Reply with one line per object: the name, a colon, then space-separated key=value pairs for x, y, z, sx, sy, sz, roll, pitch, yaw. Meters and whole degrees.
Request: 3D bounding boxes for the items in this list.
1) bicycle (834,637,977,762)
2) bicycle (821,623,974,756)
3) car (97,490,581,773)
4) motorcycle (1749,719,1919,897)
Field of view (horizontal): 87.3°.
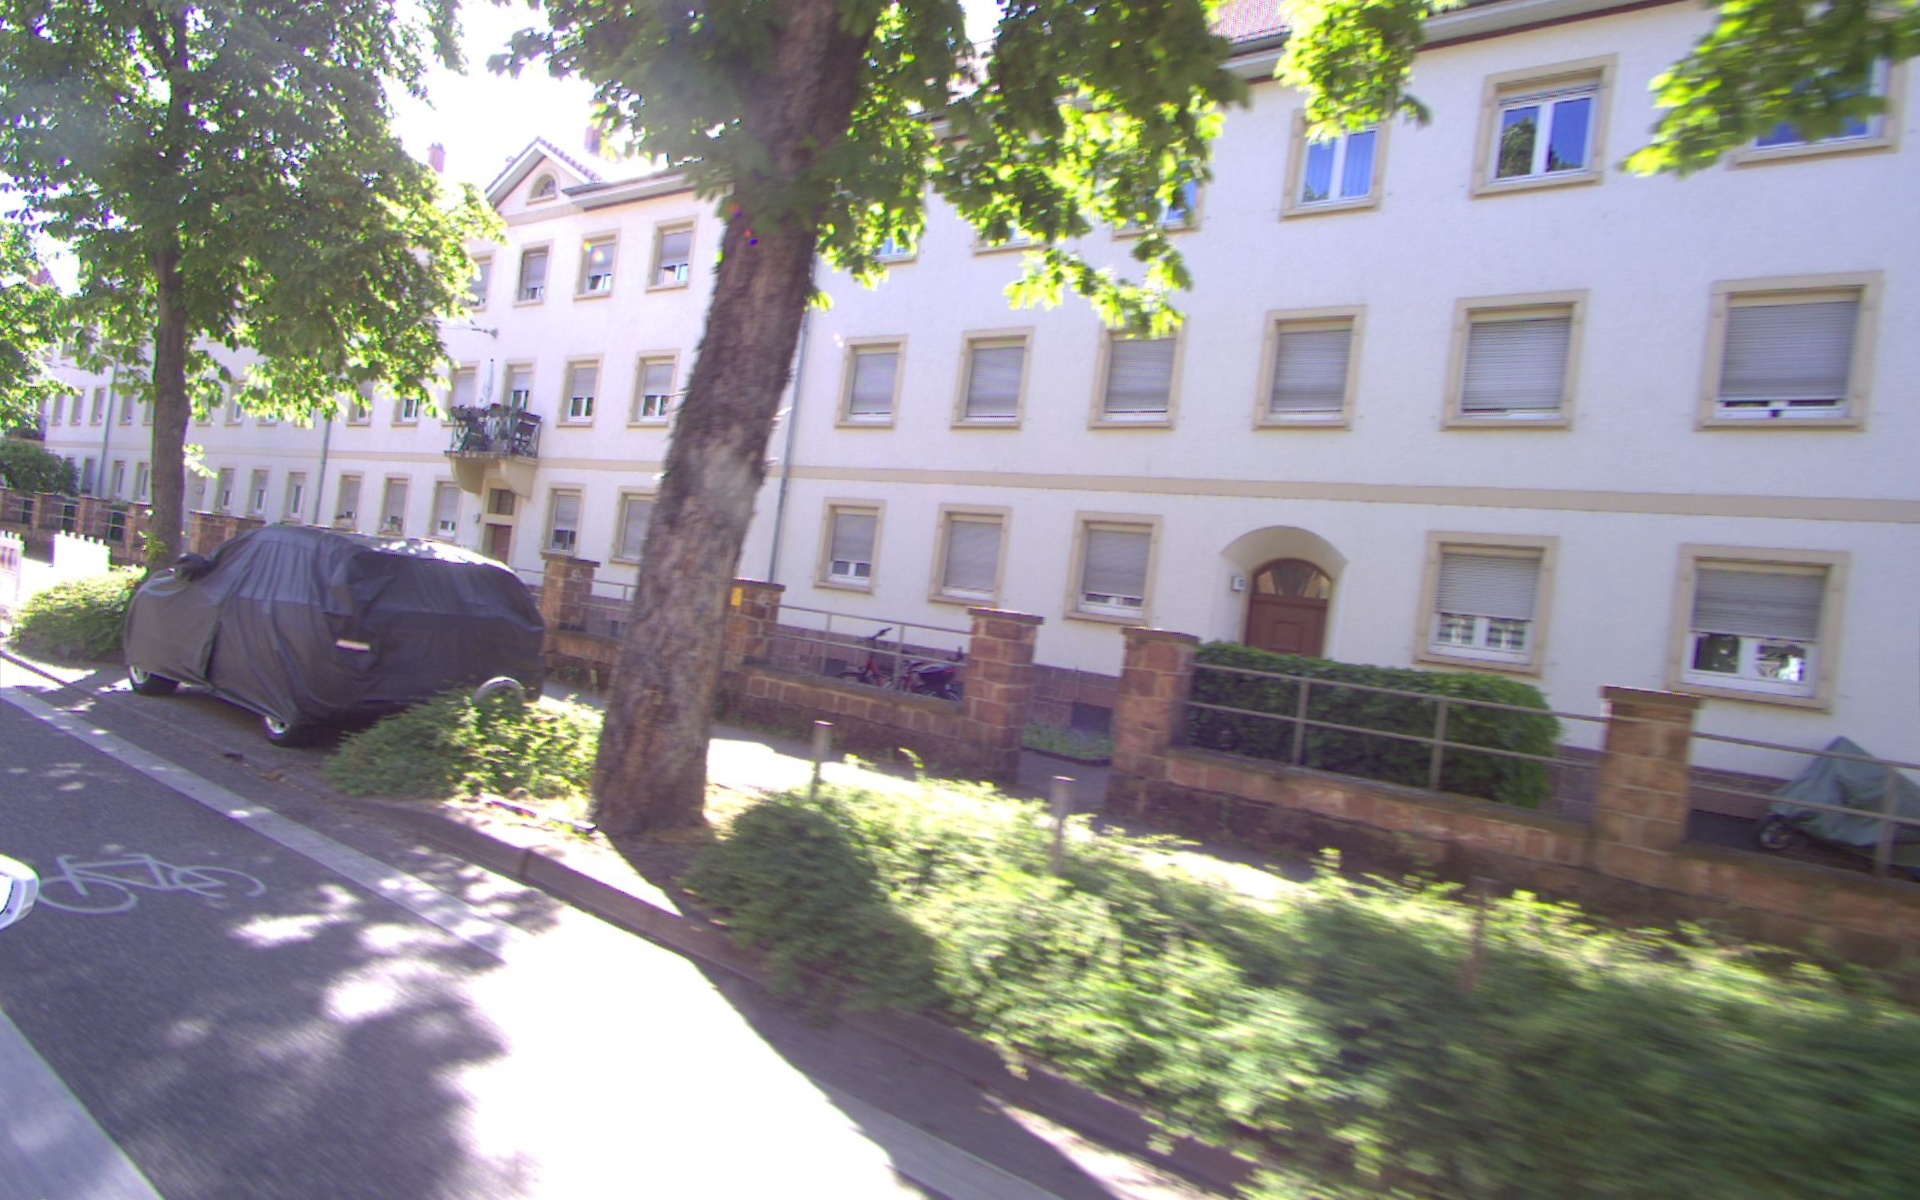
bicycle: x=-0.682 y=1.183 z=12.241 sx=1.648 sy=1.253 sz=0.448 roll=7 pitch=0 yaw=33
bicycle: x=-0.731 y=0.987 z=11.403 sx=1.648 sy=1.253 sz=0.448 roll=7 pitch=0 yaw=33
car: x=-5.579 y=0.192 z=8.856 sx=4.405 sy=1.785 sz=1.747 roll=7 pitch=-3 yaw=33
motorcycle: x=9.355 y=2.120 z=9.961 sx=2.221 sy=1.504 sz=0.808 roll=7 pitch=-2 yaw=33
